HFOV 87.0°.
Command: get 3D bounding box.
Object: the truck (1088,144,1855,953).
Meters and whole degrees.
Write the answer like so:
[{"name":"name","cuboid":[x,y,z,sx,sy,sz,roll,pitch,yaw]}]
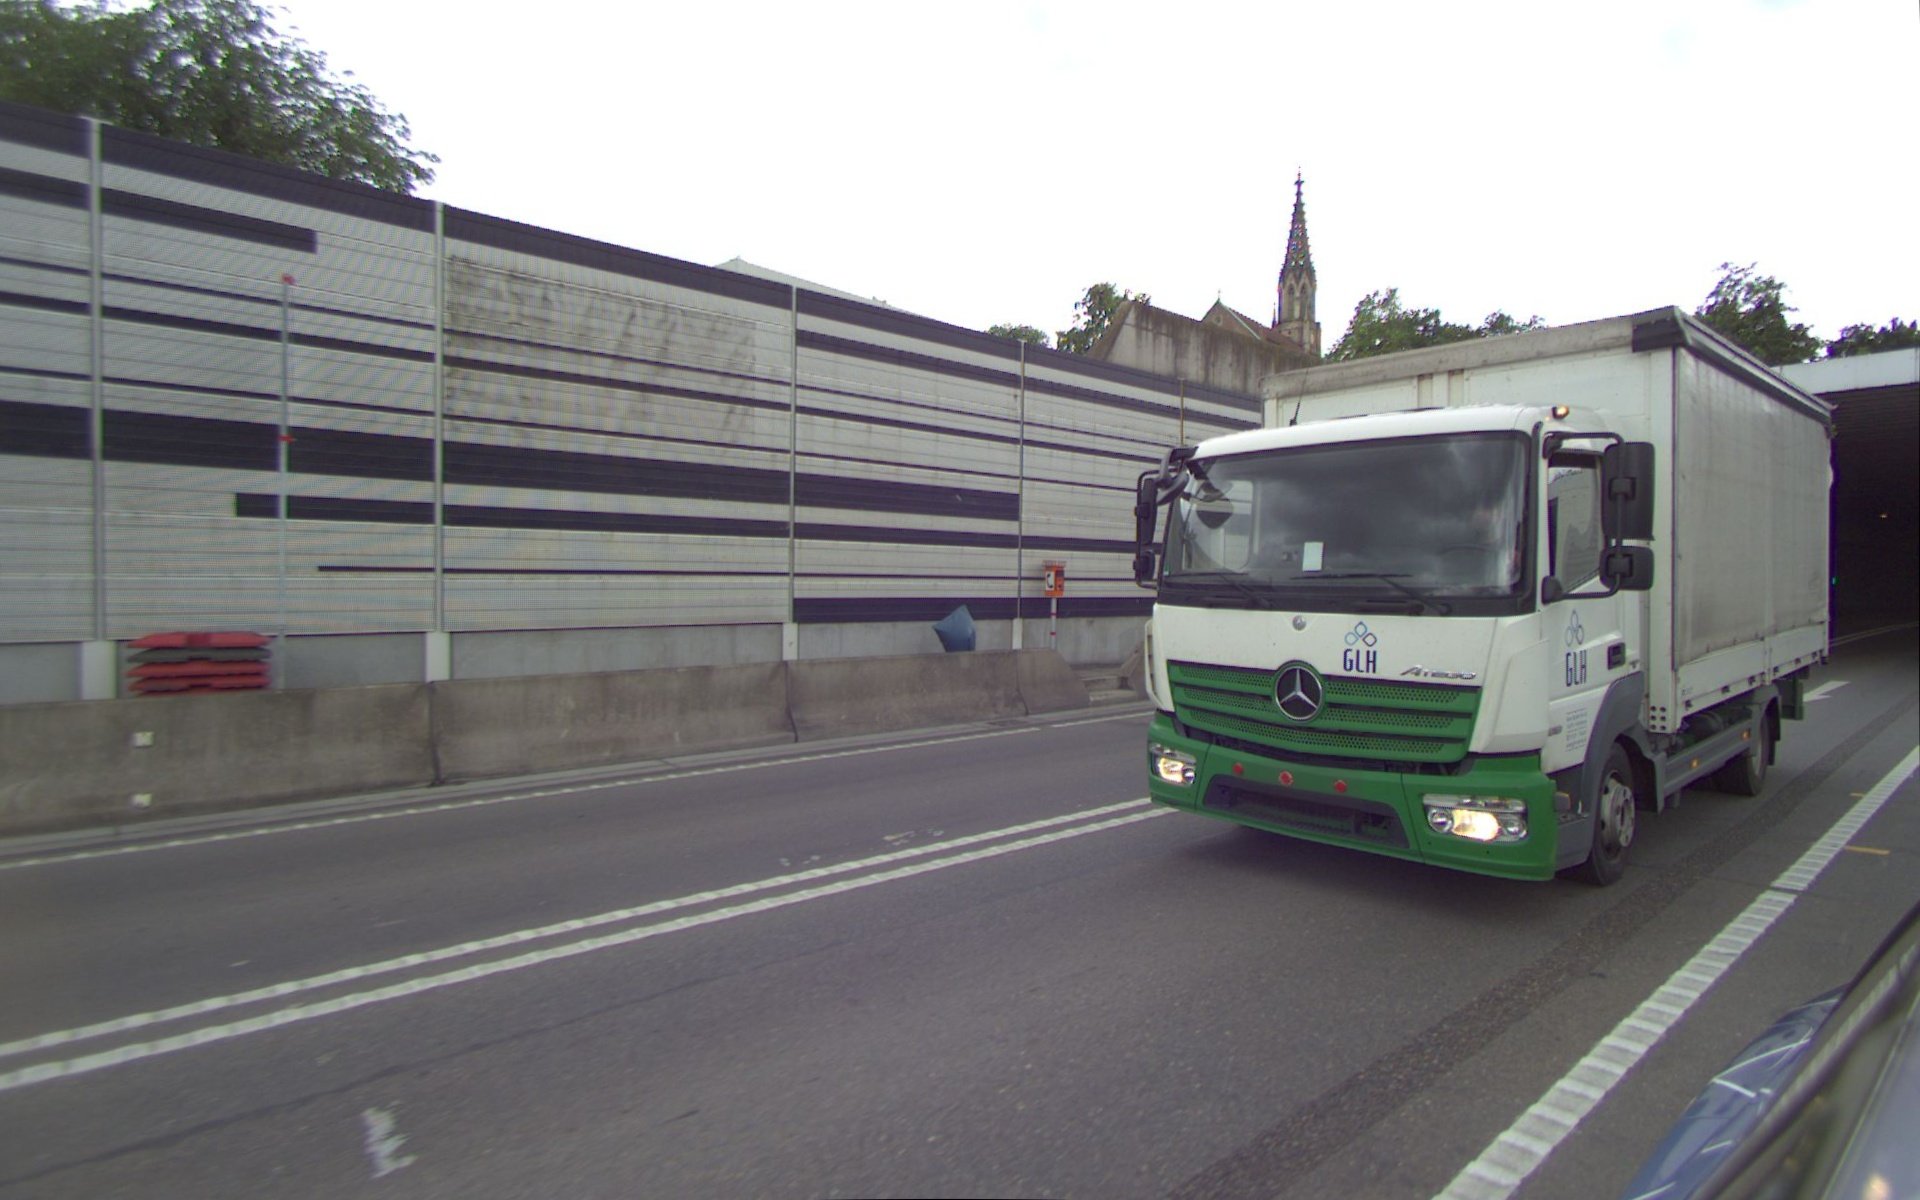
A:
[{"name":"truck","cuboid":[4.358,-0.246,7.544,7.289,3.280,2.633,-1,0,-42]}]
